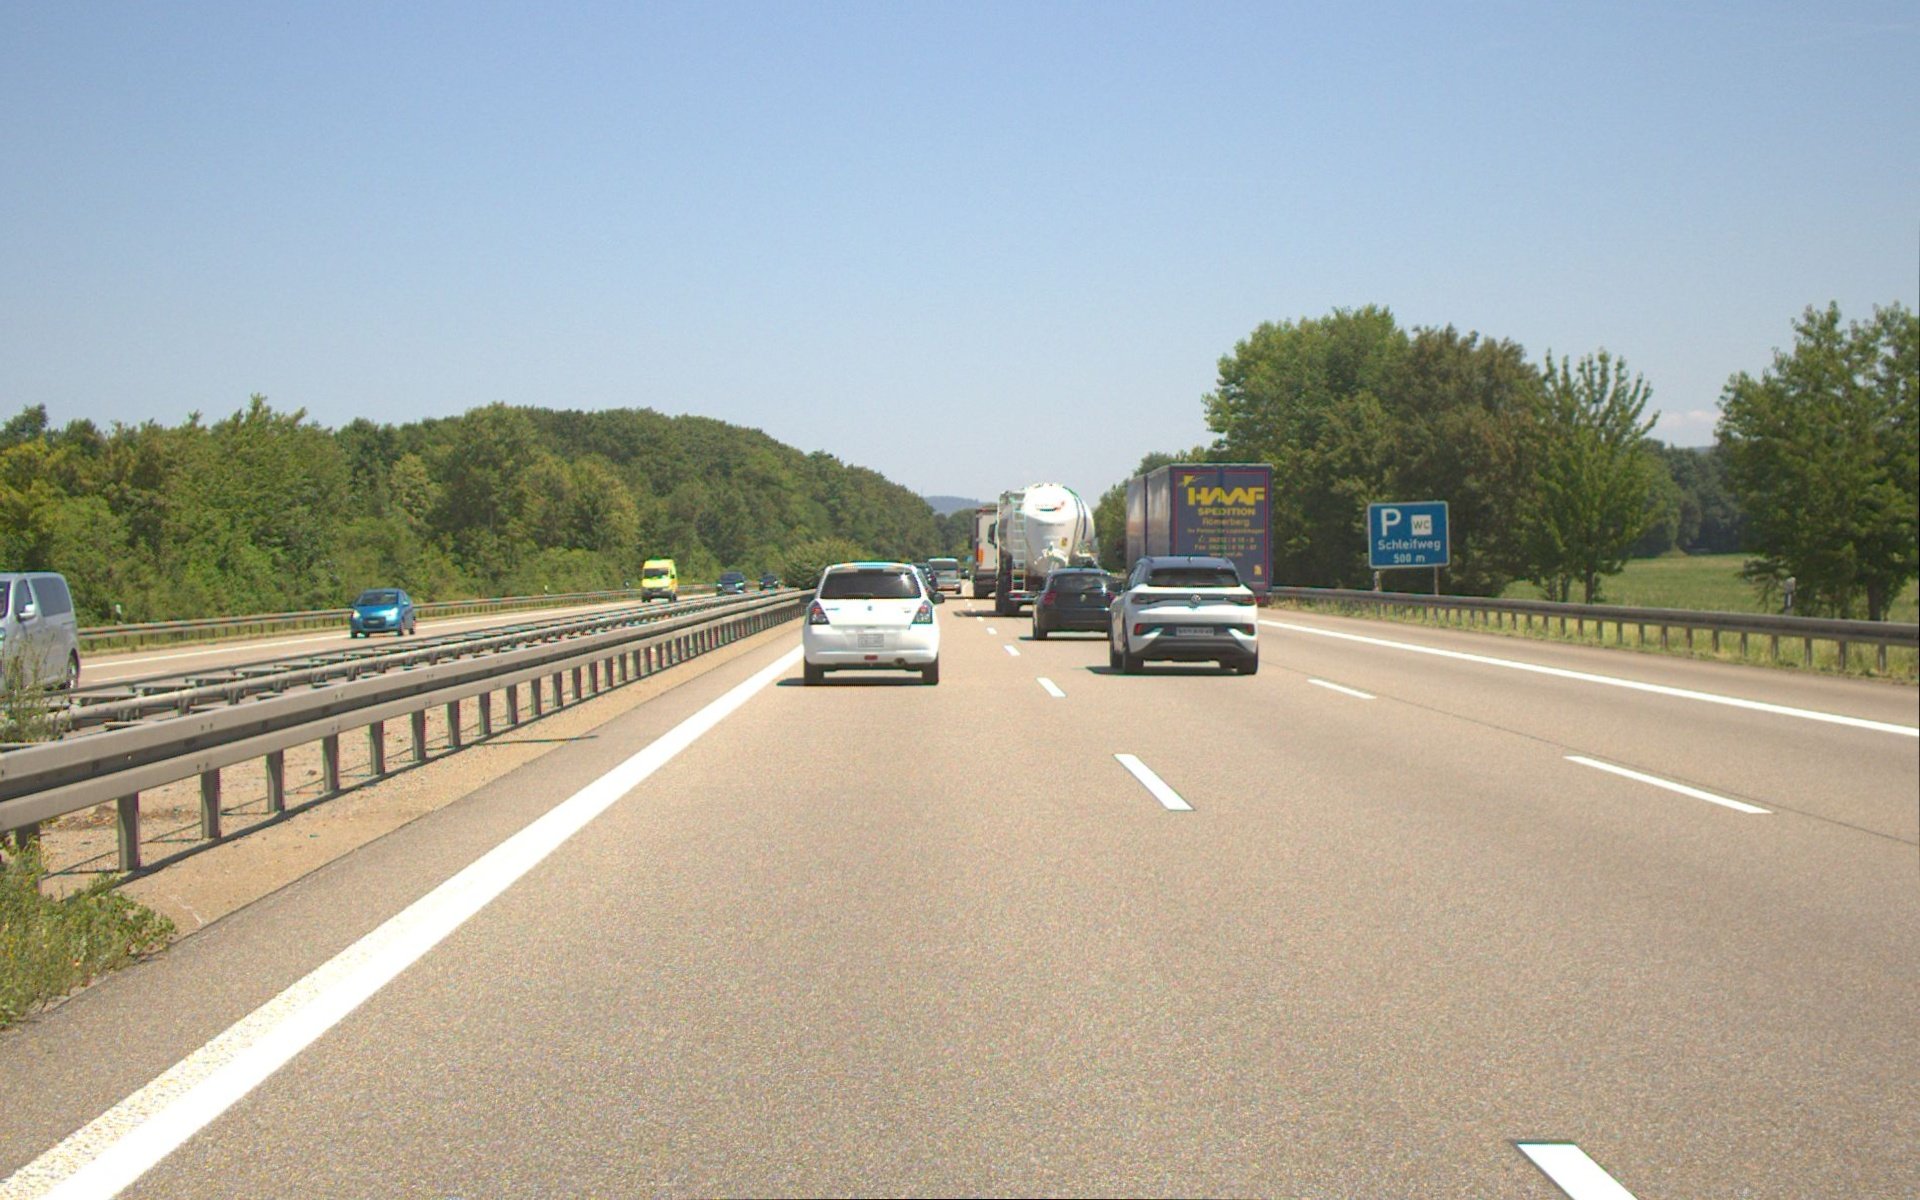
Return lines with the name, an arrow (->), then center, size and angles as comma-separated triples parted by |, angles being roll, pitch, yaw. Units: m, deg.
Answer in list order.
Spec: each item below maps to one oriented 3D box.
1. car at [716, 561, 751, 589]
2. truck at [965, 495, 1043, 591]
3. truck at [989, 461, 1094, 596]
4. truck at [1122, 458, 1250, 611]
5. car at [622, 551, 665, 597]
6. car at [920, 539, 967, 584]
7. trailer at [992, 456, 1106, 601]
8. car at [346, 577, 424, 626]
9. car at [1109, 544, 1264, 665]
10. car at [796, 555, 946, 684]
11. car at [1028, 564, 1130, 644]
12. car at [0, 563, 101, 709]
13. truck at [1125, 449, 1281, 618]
car -> -14.468, -1.612, 219.782 | 1.868, 1.684, 4.627 | -3, 1, -1
truck -> 1.980, -2.598, 157.946 | 3.394, 4.199, 12.083 | 1, 1, 0
truck -> 2.501, -2.210, 107.805 | 2.912, 4.065, 7.196 | 1, 1, -2
truck -> 6.352, -1.845, 97.696 | 3.109, 4.124, 8.056 | 1, 1, 0
car -> -20.003, -1.629, 217.402 | 2.165, 2.770, 5.800 | -3, 1, -1
car -> -0.860, -2.065, 183.570 | 2.475, 2.346, 5.181 | 1, 1, 0
trailer -> 2.580, -2.115, 103.609 | 2.911, 4.055, 12.419 | 1, 1, -1
car -> -17.696, 0.047, 105.905 | 1.564, 1.419, 3.471 | -3, 0, 3
car -> 3.111, 0.028, 47.984 | 1.802, 1.597, 4.381 | 1, 1, -1
car -> -1.116, 0.212, 43.453 | 1.799, 1.546, 3.610 | 1, 1, -1
car -> 2.350, 0.057, 68.986 | 1.850, 1.518, 3.957 | 1, 1, -1
car -> -13.765, 0.505, 48.427 | 2.041, 1.918, 5.228 | -3, 1, -1
truck -> 6.356, -1.743, 92.433 | 3.109, 4.124, 15.511 | 1, 1, 0
